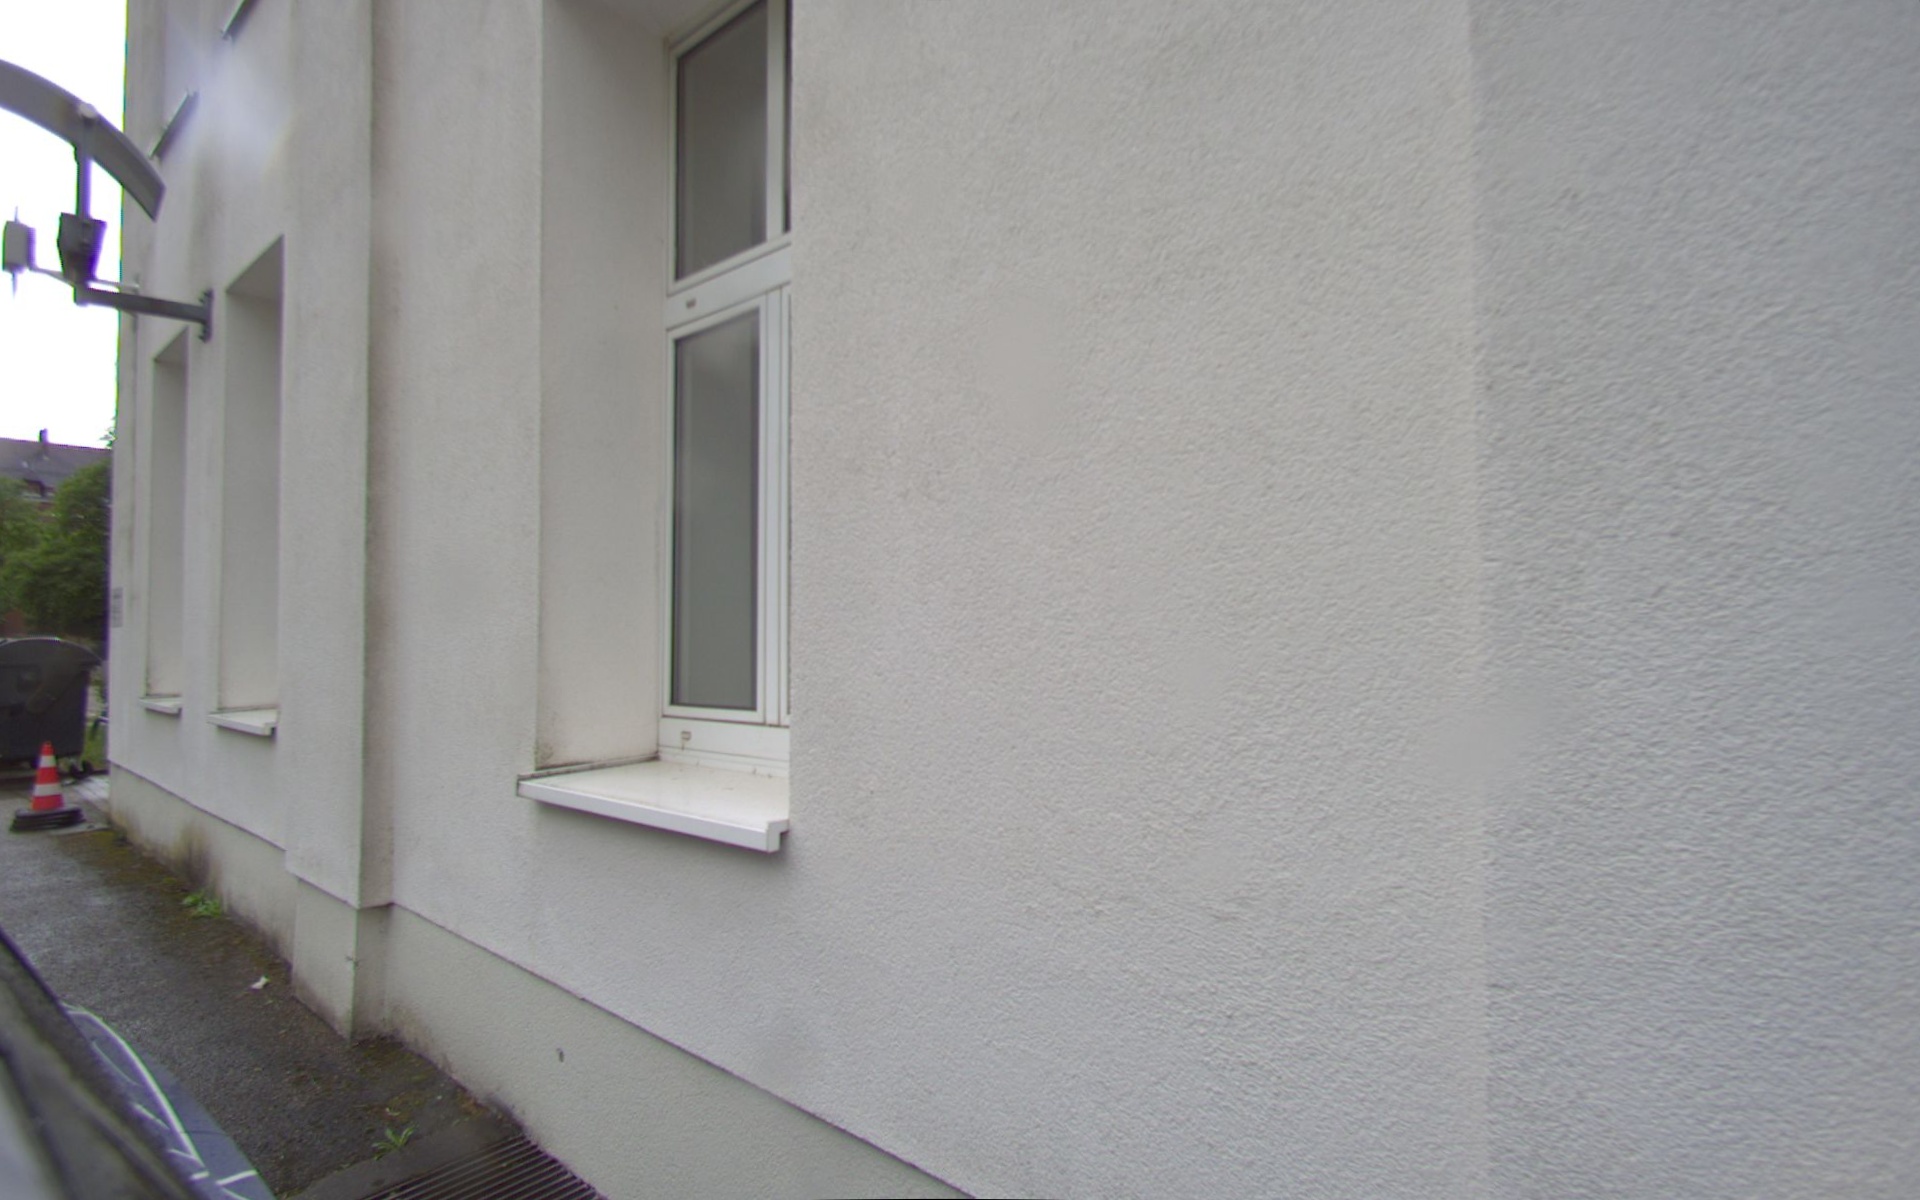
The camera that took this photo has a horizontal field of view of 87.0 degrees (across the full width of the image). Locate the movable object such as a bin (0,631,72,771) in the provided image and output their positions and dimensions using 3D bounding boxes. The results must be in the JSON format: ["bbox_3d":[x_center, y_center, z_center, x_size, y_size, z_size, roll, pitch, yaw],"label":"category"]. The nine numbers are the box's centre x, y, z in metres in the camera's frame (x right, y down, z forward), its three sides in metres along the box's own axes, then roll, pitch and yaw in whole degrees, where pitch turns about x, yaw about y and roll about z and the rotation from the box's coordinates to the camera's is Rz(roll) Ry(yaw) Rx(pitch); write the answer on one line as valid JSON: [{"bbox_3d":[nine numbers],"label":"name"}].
[{"bbox_3d":[-10.836,1.088,11.218,1.494,1.494,1.153,-2,-4,37],"label":"movable object such as a bin"}]

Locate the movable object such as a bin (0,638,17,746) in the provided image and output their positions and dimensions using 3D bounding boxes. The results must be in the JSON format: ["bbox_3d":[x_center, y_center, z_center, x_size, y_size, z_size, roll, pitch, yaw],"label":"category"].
[{"bbox_3d":[-14.101,1.292,14.233,1.087,1.484,1.488,0,-2,-38],"label":"movable object such as a bin"}]

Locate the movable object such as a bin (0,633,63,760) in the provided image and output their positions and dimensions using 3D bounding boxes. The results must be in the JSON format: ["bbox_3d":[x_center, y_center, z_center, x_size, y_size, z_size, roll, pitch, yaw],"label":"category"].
[{"bbox_3d":[-11.849,1.164,12.305,1.401,1.494,1.153,-3,-3,38],"label":"movable object such as a bin"}]

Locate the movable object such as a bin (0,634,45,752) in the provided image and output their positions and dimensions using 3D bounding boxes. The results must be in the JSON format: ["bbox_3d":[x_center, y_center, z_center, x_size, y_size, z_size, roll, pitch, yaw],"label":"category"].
[{"bbox_3d":[-12.923,1.226,13.228,1.400,1.494,1.154,-4,-4,35],"label":"movable object such as a bin"}]

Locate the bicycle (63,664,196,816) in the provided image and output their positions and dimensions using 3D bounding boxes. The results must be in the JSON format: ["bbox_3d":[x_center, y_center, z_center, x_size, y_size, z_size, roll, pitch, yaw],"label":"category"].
[{"bbox_3d":[-7.002,1.123,8.515,1.520,1.124,0.608,-2,-4,42],"label":"bicycle"}]

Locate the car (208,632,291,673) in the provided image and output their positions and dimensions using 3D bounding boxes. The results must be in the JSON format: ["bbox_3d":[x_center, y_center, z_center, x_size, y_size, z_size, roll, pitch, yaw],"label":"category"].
[{"bbox_3d":[-47.333,3.482,67.438,5.458,2.654,2.280,-1,-4,29],"label":"car"}]

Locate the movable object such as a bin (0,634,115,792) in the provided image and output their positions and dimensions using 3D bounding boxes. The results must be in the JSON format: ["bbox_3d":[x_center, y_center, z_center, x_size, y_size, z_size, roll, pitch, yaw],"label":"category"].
[{"bbox_3d":[-9.581,1.101,10.266,1.592,1.494,1.153,-2,-4,37],"label":"movable object such as a bin"}]

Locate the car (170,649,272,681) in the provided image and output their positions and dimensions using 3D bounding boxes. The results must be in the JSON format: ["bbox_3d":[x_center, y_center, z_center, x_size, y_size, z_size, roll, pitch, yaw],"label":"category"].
[{"bbox_3d":[-35.585,3.140,48.751,3.963,1.482,1.880,-2,-4,16],"label":"car"}]
